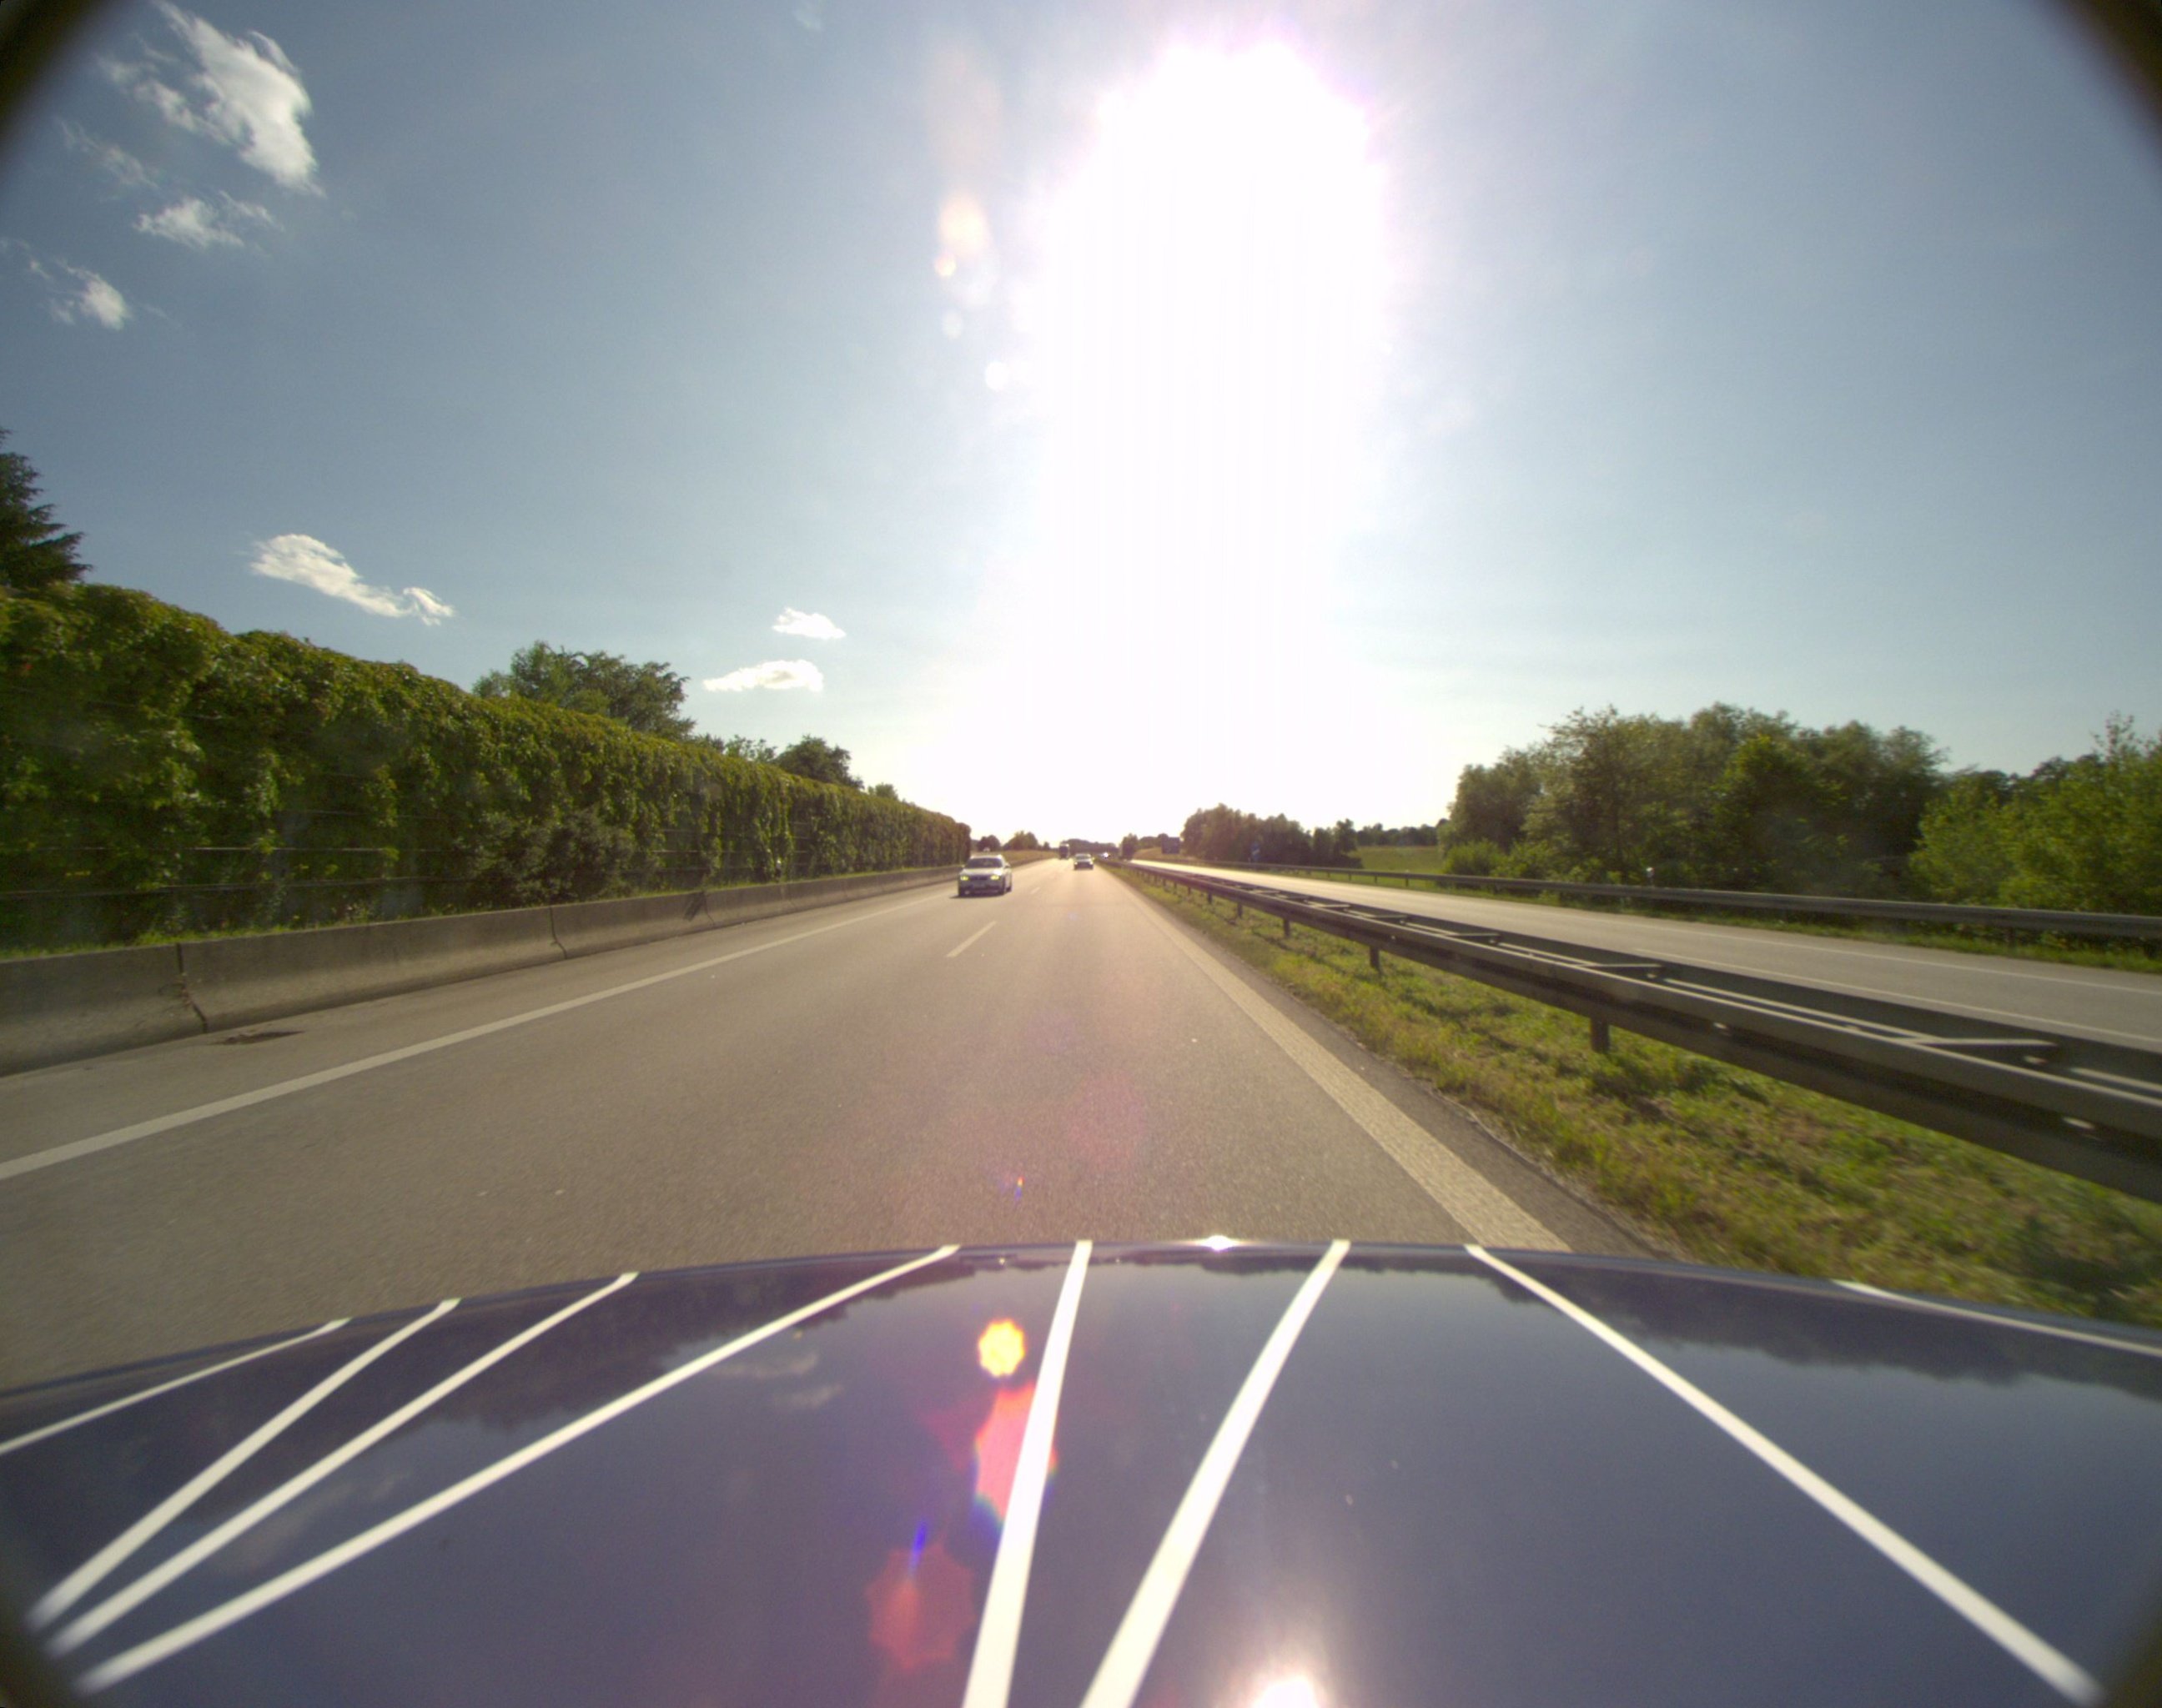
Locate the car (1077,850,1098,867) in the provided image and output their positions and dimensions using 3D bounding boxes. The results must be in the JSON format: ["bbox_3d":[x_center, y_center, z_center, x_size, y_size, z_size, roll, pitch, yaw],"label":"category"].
[{"bbox_3d":[0.628,0.374,72.434,1.870,1.514,4.284,2,0,1],"label":"car"}]

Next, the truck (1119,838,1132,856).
[{"bbox_3d":[11.053,-1.733,188.059,2.747,4.278,6.333,1,0,-1],"label":"truck"}]

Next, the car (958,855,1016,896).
[{"bbox_3d":[-3.688,0.812,30.685,1.689,1.487,4.987,-1,0,0],"label":"car"}]

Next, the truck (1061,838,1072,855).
[{"bbox_3d":[-3.727,-1.849,196.948,2.536,4.228,11.265,1,0,1],"label":"truck"}]

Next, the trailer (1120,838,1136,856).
[{"bbox_3d":[11.132,-1.610,181.076,2.795,4.136,14.391,1,0,-1],"label":"trailer"}]

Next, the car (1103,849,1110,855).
[{"bbox_3d":[7.355,-0.548,219.625,1.999,1.655,4.633,2,0,-1],"label":"car"}]
